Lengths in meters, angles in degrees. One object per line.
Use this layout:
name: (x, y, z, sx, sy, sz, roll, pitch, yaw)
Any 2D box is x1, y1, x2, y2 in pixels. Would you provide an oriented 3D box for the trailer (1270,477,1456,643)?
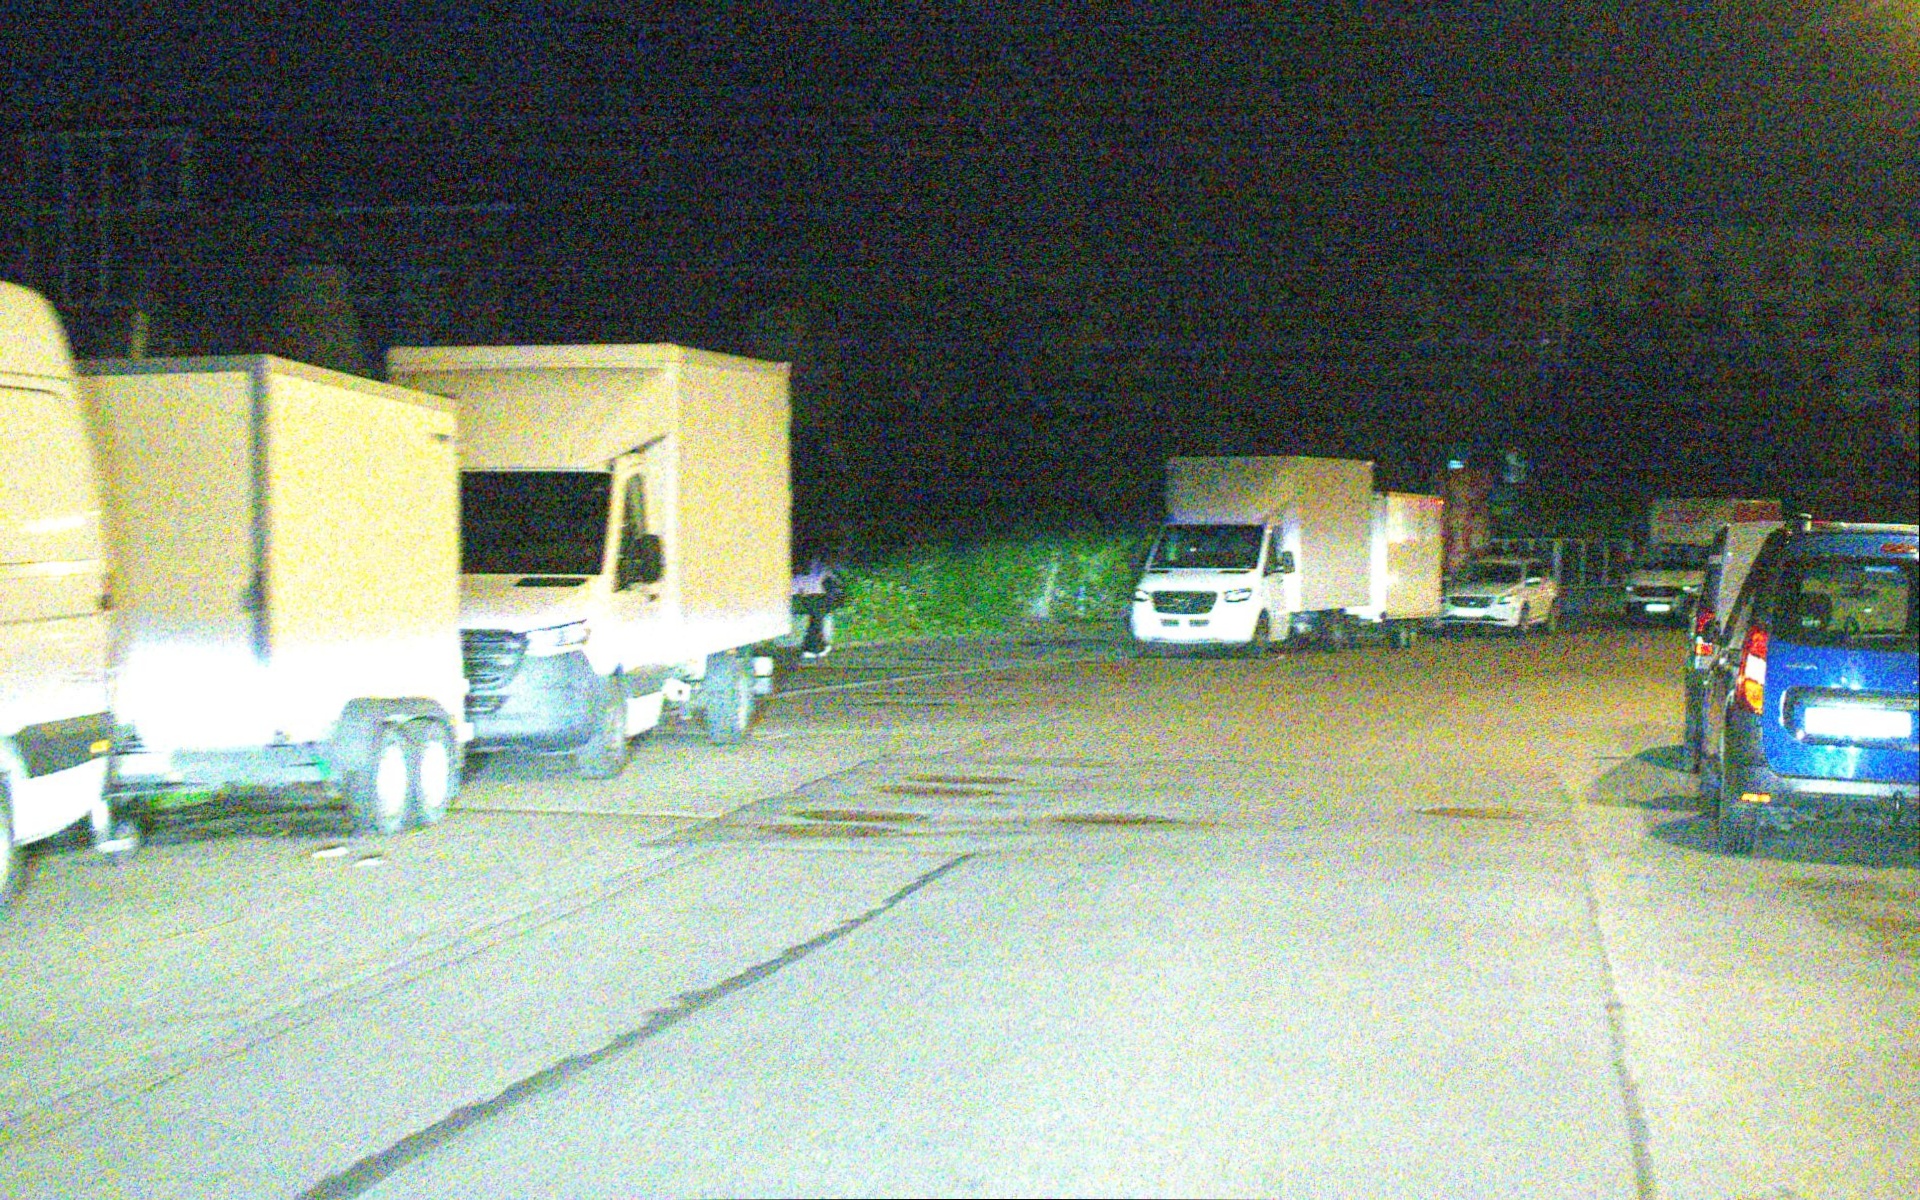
trailer: (7.199, -0.755, 61.052, 1.996, 2.803, 4.697, 1, 2, 23)

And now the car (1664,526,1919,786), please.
car: (6.504, 0.378, 26.819, 1.721, 1.814, 3.999, 2, 1, 9)

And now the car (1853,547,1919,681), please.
car: (14.035, 0.205, 49.264, 1.723, 1.814, 3.995, 2, 1, 24)

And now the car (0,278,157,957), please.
car: (-5.155, 0.120, 11.436, 2.519, 2.597, 7.090, 0, 1, 7)

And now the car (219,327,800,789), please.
car: (-3.048, -0.341, 25.473, 2.519, 2.917, 7.200, 0, 1, 7)

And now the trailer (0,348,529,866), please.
trailer: (-3.803, -0.004, 18.620, 1.994, 2.519, 3.567, -1, 1, 8)

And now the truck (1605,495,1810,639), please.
truck: (18.997, -0.902, 86.911, 1.997, 3.392, 8.963, 3, 3, 32)

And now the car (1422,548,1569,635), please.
car: (11.198, -0.178, 71.710, 1.996, 1.693, 4.201, 2, 1, 23)

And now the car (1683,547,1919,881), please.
car: (5.098, 0.568, 19.391, 1.721, 1.655, 3.999, 2, 1, 9)

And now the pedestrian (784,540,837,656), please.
pedestrian: (-2.156, -0.032, 49.628, 0.675, 1.647, 0.654, 0, 3, -10)

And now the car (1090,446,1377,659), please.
car: (4.481, -0.794, 54.882, 2.522, 3.160, 7.130, 0, 1, 22)
